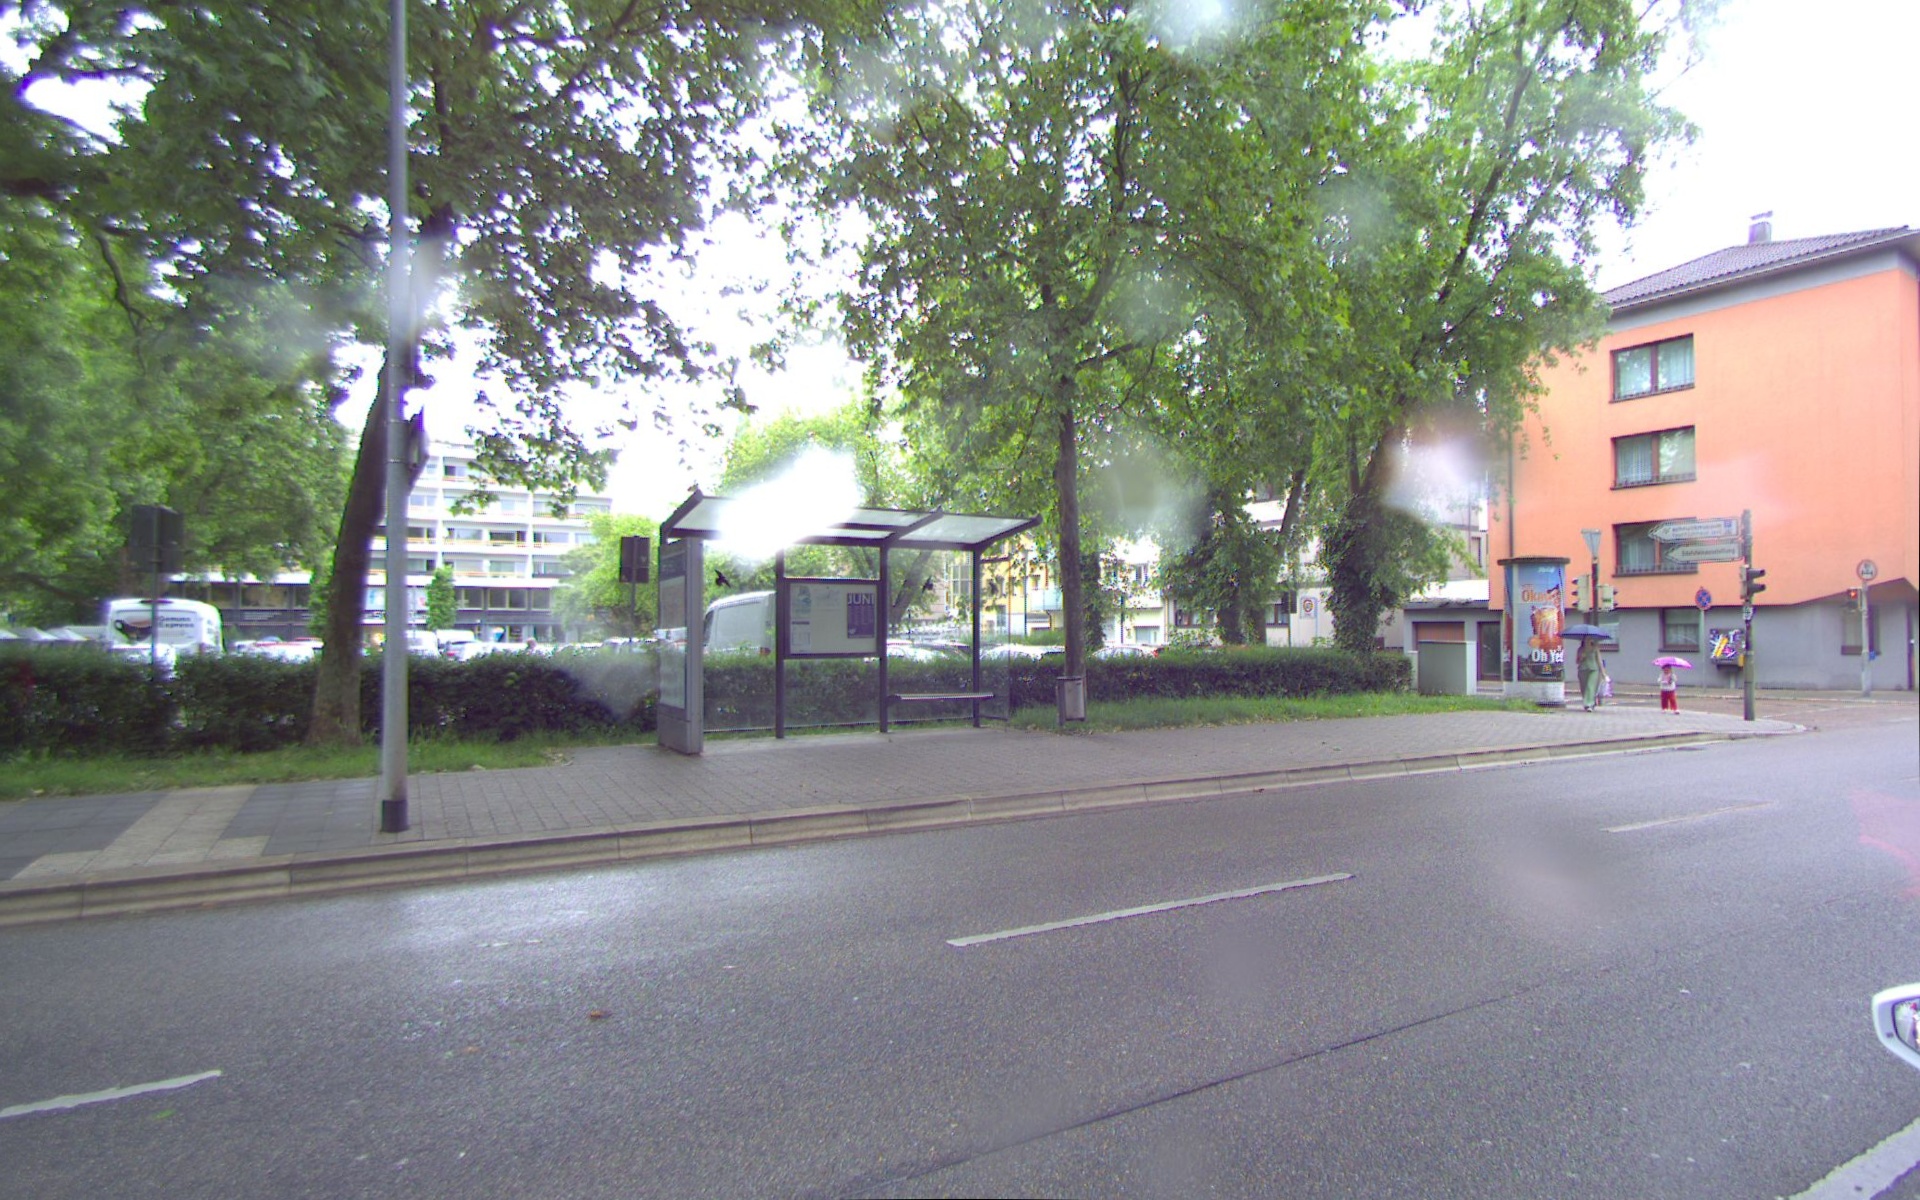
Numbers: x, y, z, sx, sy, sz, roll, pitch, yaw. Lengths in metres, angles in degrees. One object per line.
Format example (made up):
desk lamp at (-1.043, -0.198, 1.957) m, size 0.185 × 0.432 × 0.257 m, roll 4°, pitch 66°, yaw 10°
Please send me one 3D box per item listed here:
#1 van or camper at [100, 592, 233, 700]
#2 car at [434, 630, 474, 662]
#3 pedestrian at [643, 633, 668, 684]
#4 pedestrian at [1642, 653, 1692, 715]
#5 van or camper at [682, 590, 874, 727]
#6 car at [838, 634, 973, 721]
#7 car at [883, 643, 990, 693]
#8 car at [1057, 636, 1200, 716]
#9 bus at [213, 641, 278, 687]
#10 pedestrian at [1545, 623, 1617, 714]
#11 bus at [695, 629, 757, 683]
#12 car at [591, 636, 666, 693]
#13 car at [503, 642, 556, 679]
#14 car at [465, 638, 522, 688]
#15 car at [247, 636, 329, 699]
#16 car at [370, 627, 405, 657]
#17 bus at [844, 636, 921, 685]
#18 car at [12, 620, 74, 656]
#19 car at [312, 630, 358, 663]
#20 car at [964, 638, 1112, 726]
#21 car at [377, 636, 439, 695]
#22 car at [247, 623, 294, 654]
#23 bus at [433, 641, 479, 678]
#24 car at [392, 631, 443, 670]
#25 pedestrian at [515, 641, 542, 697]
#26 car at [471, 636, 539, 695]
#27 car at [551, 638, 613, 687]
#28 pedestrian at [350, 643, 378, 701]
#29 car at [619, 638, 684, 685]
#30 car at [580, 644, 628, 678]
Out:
van or camper at (-20.706, 1.212, 26.417) m, size 2.074 × 2.570 × 4.391 m, roll 1°, pitch -3°, yaw -30°
car at (-27.229, 2.444, 54.020) m, size 1.622 × 1.544 × 3.174 m, roll 2°, pitch 0°, yaw -32°
pedestrian at (-7.578, 1.453, 24.999) m, size 0.462 × 1.229 × 0.434 m, roll 2°, pitch 0°, yaw -37°
pedestrian at (14.464, 1.697, 20.540) m, size 0.821 × 1.190 × 0.677 m, roll 1°, pitch 0°, yaw -44°
van or camper at (-3.502, 1.052, 18.645) m, size 2.026 × 2.198 × 4.458 m, roll 2°, pitch -3°, yaw -32°
car at (-1.219, 1.571, 21.181) m, size 1.492 × 1.544 × 3.174 m, roll 2°, pitch 0°, yaw -32°
car at (-0.840, 2.220, 33.511) m, size 1.799 × 1.536 × 3.965 m, roll 2°, pitch -3°, yaw -33°
car at (3.796, 1.681, 23.034) m, size 1.492 × 1.544 × 3.174 m, roll 2°, pitch 0°, yaw -32°
bus at (-25.556, 2.262, 36.012) m, size 1.587 × 1.559 × 3.403 m, roll 2°, pitch -3°, yaw -30°
pedestrian at (12.799, 1.378, 20.712) m, size 1.201 × 1.765 × 0.982 m, roll 1°, pitch 0°, yaw -44°
bus at (-7.837, 1.859, 33.517) m, size 1.363 × 1.698 × 2.779 m, roll 1°, pitch -3°, yaw -28°
car at (-9.119, 1.741, 27.499) m, size 1.375 × 1.454 × 3.248 m, roll 1°, pitch -3°, yaw -29°
car at (-17.703, 2.444, 41.232) m, size 1.587 × 1.447 × 3.293 m, roll 2°, pitch -3°, yaw -30°
car at (-14.549, 1.933, 31.275) m, size 1.375 × 1.454 × 3.248 m, roll 1°, pitch -3°, yaw -29°
car at (-16.519, 1.633, 24.785) m, size 1.375 × 1.454 × 3.248 m, roll 1°, pitch -3°, yaw -29°
car at (-33.049, 2.386, 57.911) m, size 1.622 × 1.544 × 3.174 m, roll 1°, pitch 1°, yaw -32°
bus at (-2.470, 1.870, 31.543) m, size 1.364 × 1.451 × 2.777 m, roll 2°, pitch -3°, yaw -30°
car at (-40.821, 1.681, 44.763) m, size 1.412 × 1.447 × 2.941 m, roll 1°, pitch 0°, yaw -30°
car at (-31.427, 2.300, 50.580) m, size 1.818 × 1.444 × 3.799 m, roll 2°, pitch 0°, yaw -31°
car at (1.576, 1.656, 21.164) m, size 1.492 × 1.544 × 3.174 m, roll 2°, pitch 0°, yaw -32°
car at (-14.741, 1.715, 26.845) m, size 1.375 × 1.454 × 3.248 m, roll 1°, pitch -3°, yaw -29°
car at (-33.103, 1.876, 48.281) m, size 1.587 × 1.447 × 3.293 m, roll 2°, pitch -3°, yaw -30°
bus at (-22.378, 2.600, 44.566) m, size 1.587 × 1.559 × 3.403 m, roll 2°, pitch -3°, yaw -30°
car at (-20.907, 1.937, 38.682) m, size 1.587 × 1.447 × 3.293 m, roll 2°, pitch -3°, yaw -30°
pedestrian at (-9.750, 1.543, 22.693) m, size 0.462 × 1.229 × 0.434 m, roll 2°, pitch 0°, yaw -37°
car at (-12.098, 1.705, 26.643) m, size 1.375 × 1.454 × 3.248 m, roll 1°, pitch -3°, yaw -29°
car at (-11.965, 1.937, 31.675) m, size 1.375 × 1.454 × 3.248 m, roll 1°, pitch -3°, yaw -29°
pedestrian at (-12.970, 1.564, 21.851) m, size 0.462 × 1.229 × 0.434 m, roll 2°, pitch 0°, yaw -37°
car at (-10.000, 1.966, 32.468) m, size 1.375 × 1.454 × 3.248 m, roll 1°, pitch -3°, yaw -29°
car at (-15.204, 2.570, 42.824) m, size 1.332 × 1.401 × 3.141 m, roll 2°, pitch -3°, yaw -30°
